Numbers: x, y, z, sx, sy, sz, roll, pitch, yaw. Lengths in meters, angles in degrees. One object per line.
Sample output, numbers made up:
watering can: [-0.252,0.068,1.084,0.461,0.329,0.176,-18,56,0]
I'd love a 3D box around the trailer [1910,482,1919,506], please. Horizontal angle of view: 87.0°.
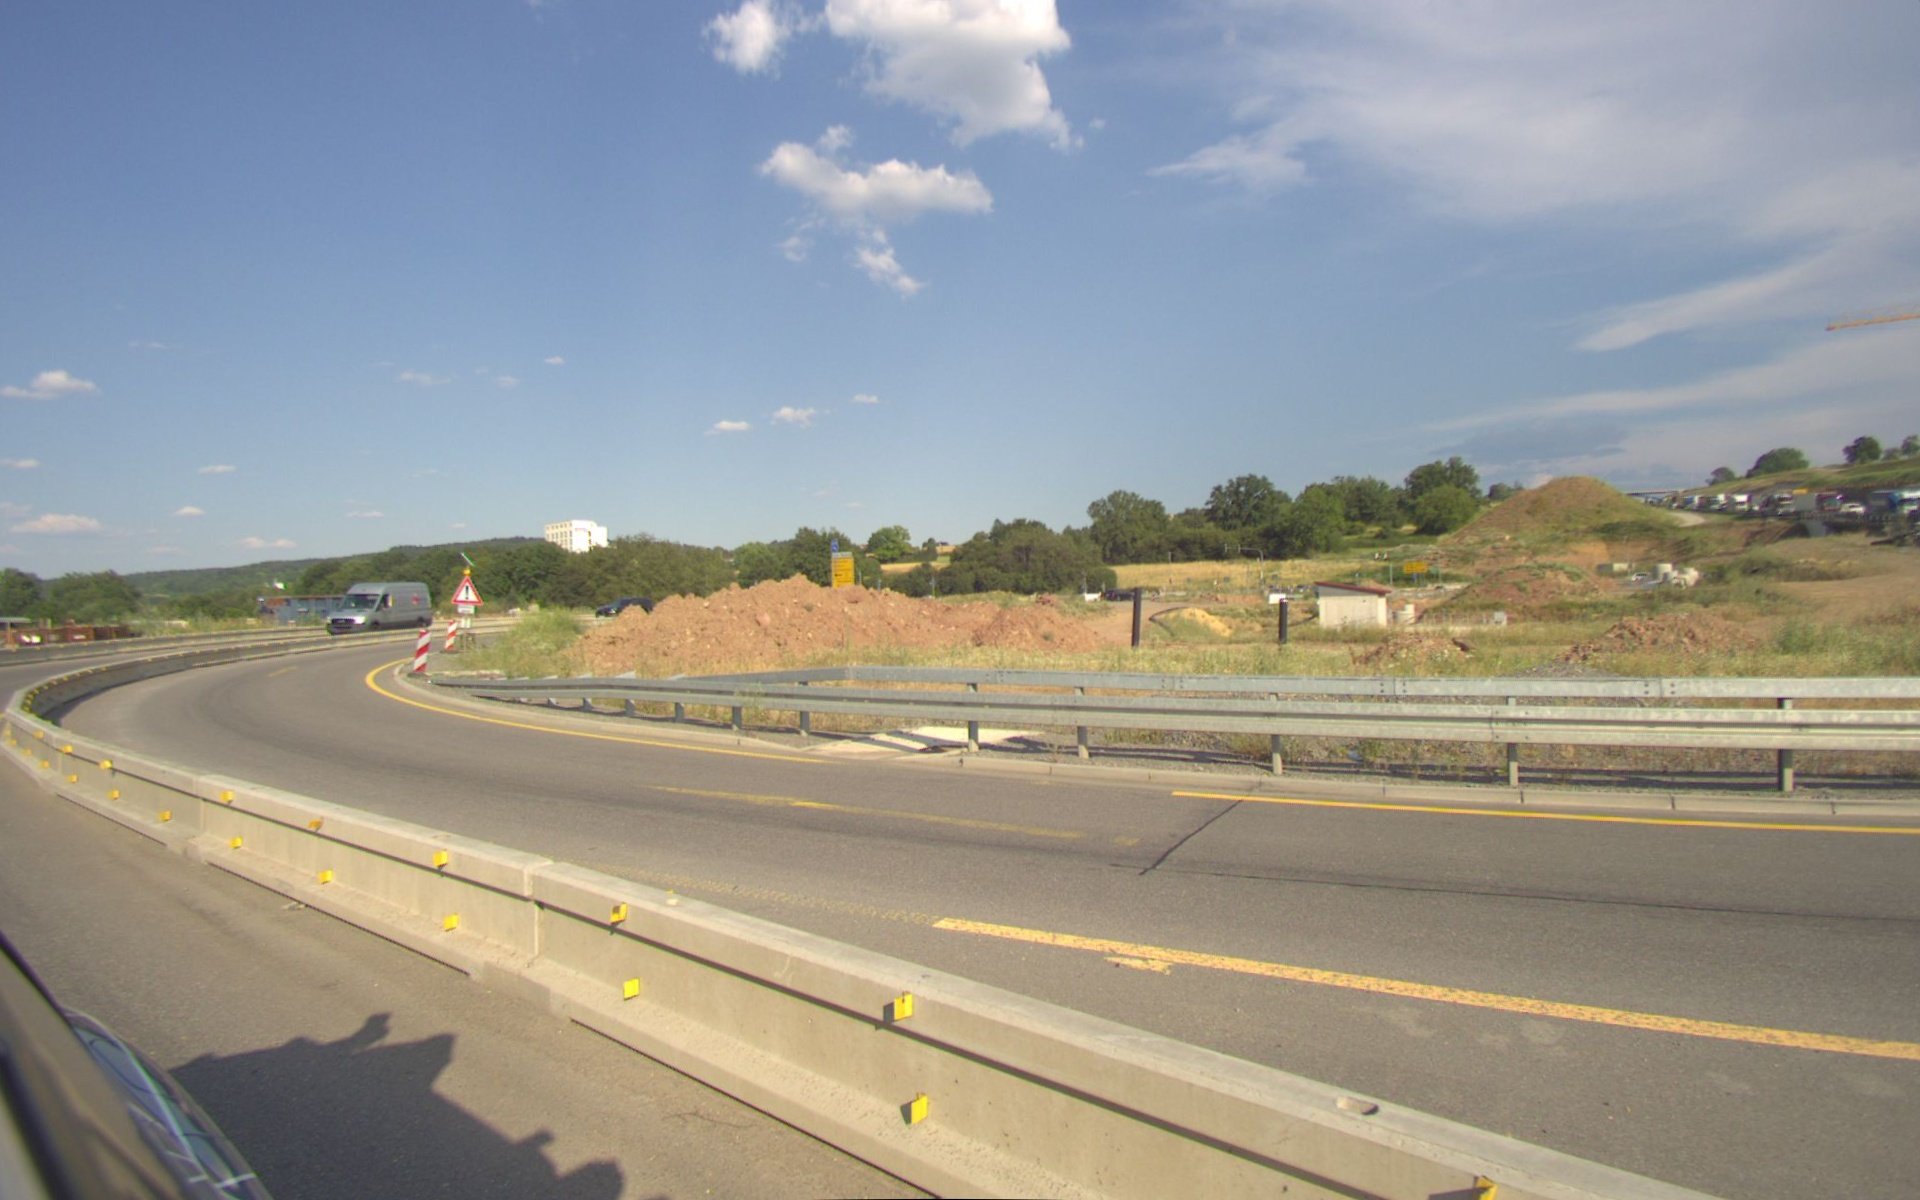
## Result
trailer: [159.222,-17.681,166.166,1.964,3.540,11.064,-1,0,29]

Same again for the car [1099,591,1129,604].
car: [18.265,-0.307,119.936,1.712,1.530,4.461,1,1,35]

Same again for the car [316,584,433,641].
car: [-27.770,0.549,48.262,1.893,2.520,5.790,-1,0,4]

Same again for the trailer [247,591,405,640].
trailer: [-35.080,0.790,56.363,2.990,2.432,7.182,-2,0,19]

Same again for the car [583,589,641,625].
car: [-24.225,0.452,70.542,1.860,2.421,3.980,-1,0,15]

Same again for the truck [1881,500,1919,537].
truck: [118.131,-10.173,126.637,2.514,4.031,8.465,-1,0,30]
